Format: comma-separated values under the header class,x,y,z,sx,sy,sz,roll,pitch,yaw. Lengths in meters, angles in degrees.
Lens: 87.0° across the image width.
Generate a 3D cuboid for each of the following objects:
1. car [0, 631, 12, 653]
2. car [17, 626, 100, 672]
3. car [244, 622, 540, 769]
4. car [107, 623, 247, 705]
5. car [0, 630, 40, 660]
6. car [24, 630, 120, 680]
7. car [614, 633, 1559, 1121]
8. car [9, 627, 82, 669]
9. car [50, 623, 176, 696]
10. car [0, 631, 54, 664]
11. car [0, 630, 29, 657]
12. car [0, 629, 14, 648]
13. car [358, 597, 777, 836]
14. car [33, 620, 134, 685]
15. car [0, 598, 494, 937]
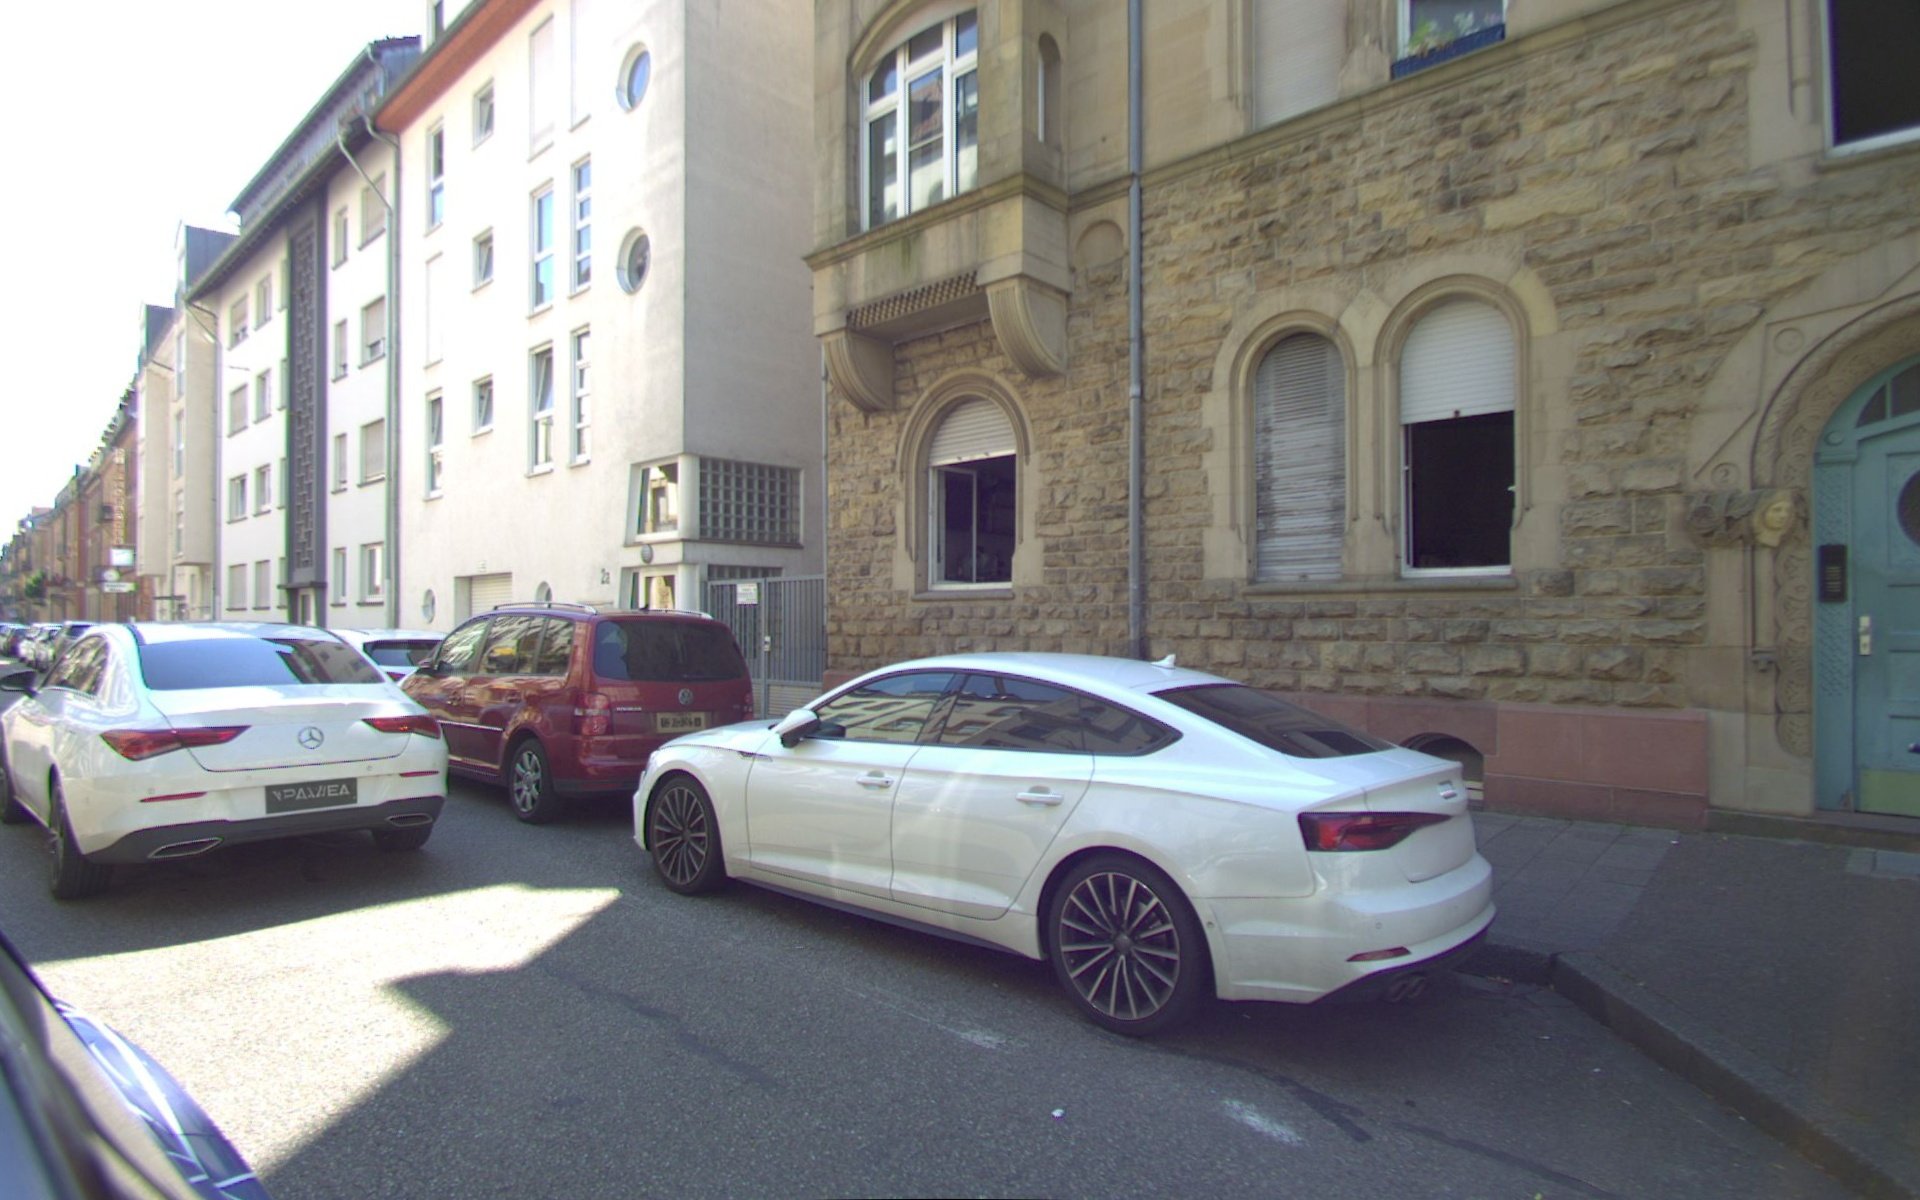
class,x,y,z,sx,sy,sz,roll,pitch,yaw
car,-63.395,2.735,66.422,3.527,1.410,1.430,-1,-6,44
car,-32.277,1.720,36.197,4.348,1.506,1.711,-1,-5,43
car,-6.990,1.036,12.272,4.277,1.471,1.758,-1,-4,41
car,-15.805,1.240,20.366,3.894,1.503,1.550,-1,-4,43
car,-48.766,2.292,52.275,1.610,1.440,3.680,7,-6,-44
car,-27.606,1.688,31.412,4.348,1.404,1.745,-1,-4,43
car,0.259,0.893,5.069,4.512,1.363,1.684,-1,-4,41
car,-37.233,1.935,41.171,3.851,1.561,1.612,-1,-6,40
car,-19.932,1.348,23.742,4.671,1.530,1.638,-1,-4,43
car,-44.955,2.260,48.700,1.757,1.440,3.839,7,-6,-44
car,-55.308,2.480,58.769,3.525,1.484,1.431,-1,-6,42
car,-75.595,2.978,77.907,1.679,1.441,3.941,-1,-2,45
car,-3.539,0.847,8.760,4.051,1.595,1.655,-1,-4,41
car,-23.922,1.399,27.576,3.977,1.657,1.586,-1,-4,43
car,-4.903,0.808,6.587,4.362,1.472,1.821,-1,-4,43
